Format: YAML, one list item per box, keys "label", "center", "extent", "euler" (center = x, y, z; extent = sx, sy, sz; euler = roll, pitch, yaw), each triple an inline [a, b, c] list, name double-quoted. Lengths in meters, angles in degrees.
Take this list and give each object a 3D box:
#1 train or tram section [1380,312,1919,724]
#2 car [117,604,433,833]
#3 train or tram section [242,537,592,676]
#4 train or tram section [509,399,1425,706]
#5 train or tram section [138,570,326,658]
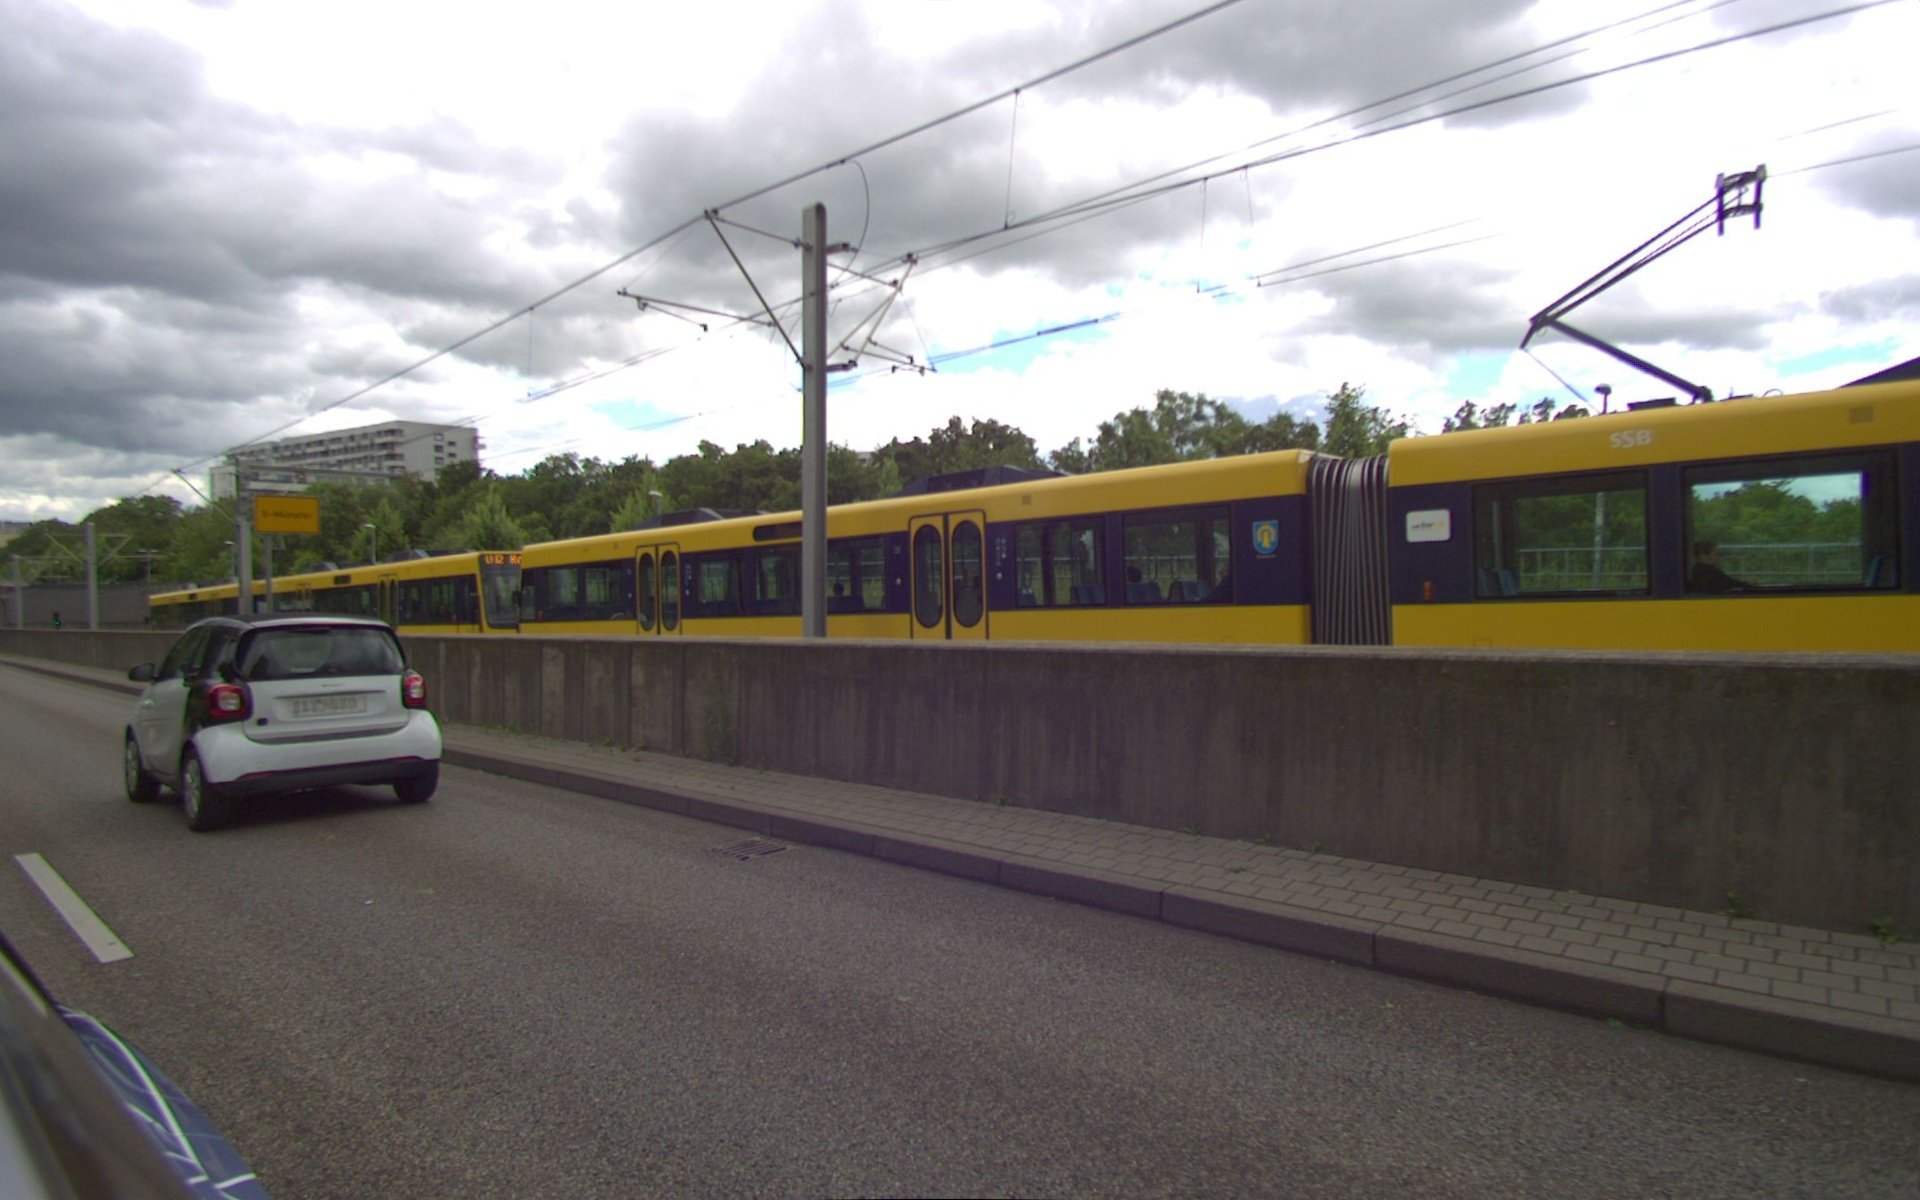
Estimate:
- label: "train or tram section"
  center: [12.428, -0.729, 5.792]
  extent: [18.446, 3.218, 2.754]
  euler: [-1, -1, 38]
- label: "car"
  center: [-5.708, 0.832, 8.362]
  extent: [2.696, 1.552, 1.578]
  euler: [-1, -2, 42]
- label: "train or tram section"
  center: [-17.679, 0.311, 31.157]
  extent: [19.906, 3.239, 2.706]
  euler: [-1, 0, 41]
- label: "train or tram section"
  center: [-2.099, -0.418, 17.606]
  extent: [18.460, 3.217, 2.753]
  euler: [-1, 0, 40]
- label: "train or tram section"
  center: [-31.789, 0.642, 43.562]
  extent: [17.558, 3.215, 2.683]
  euler: [-1, 0, 41]
